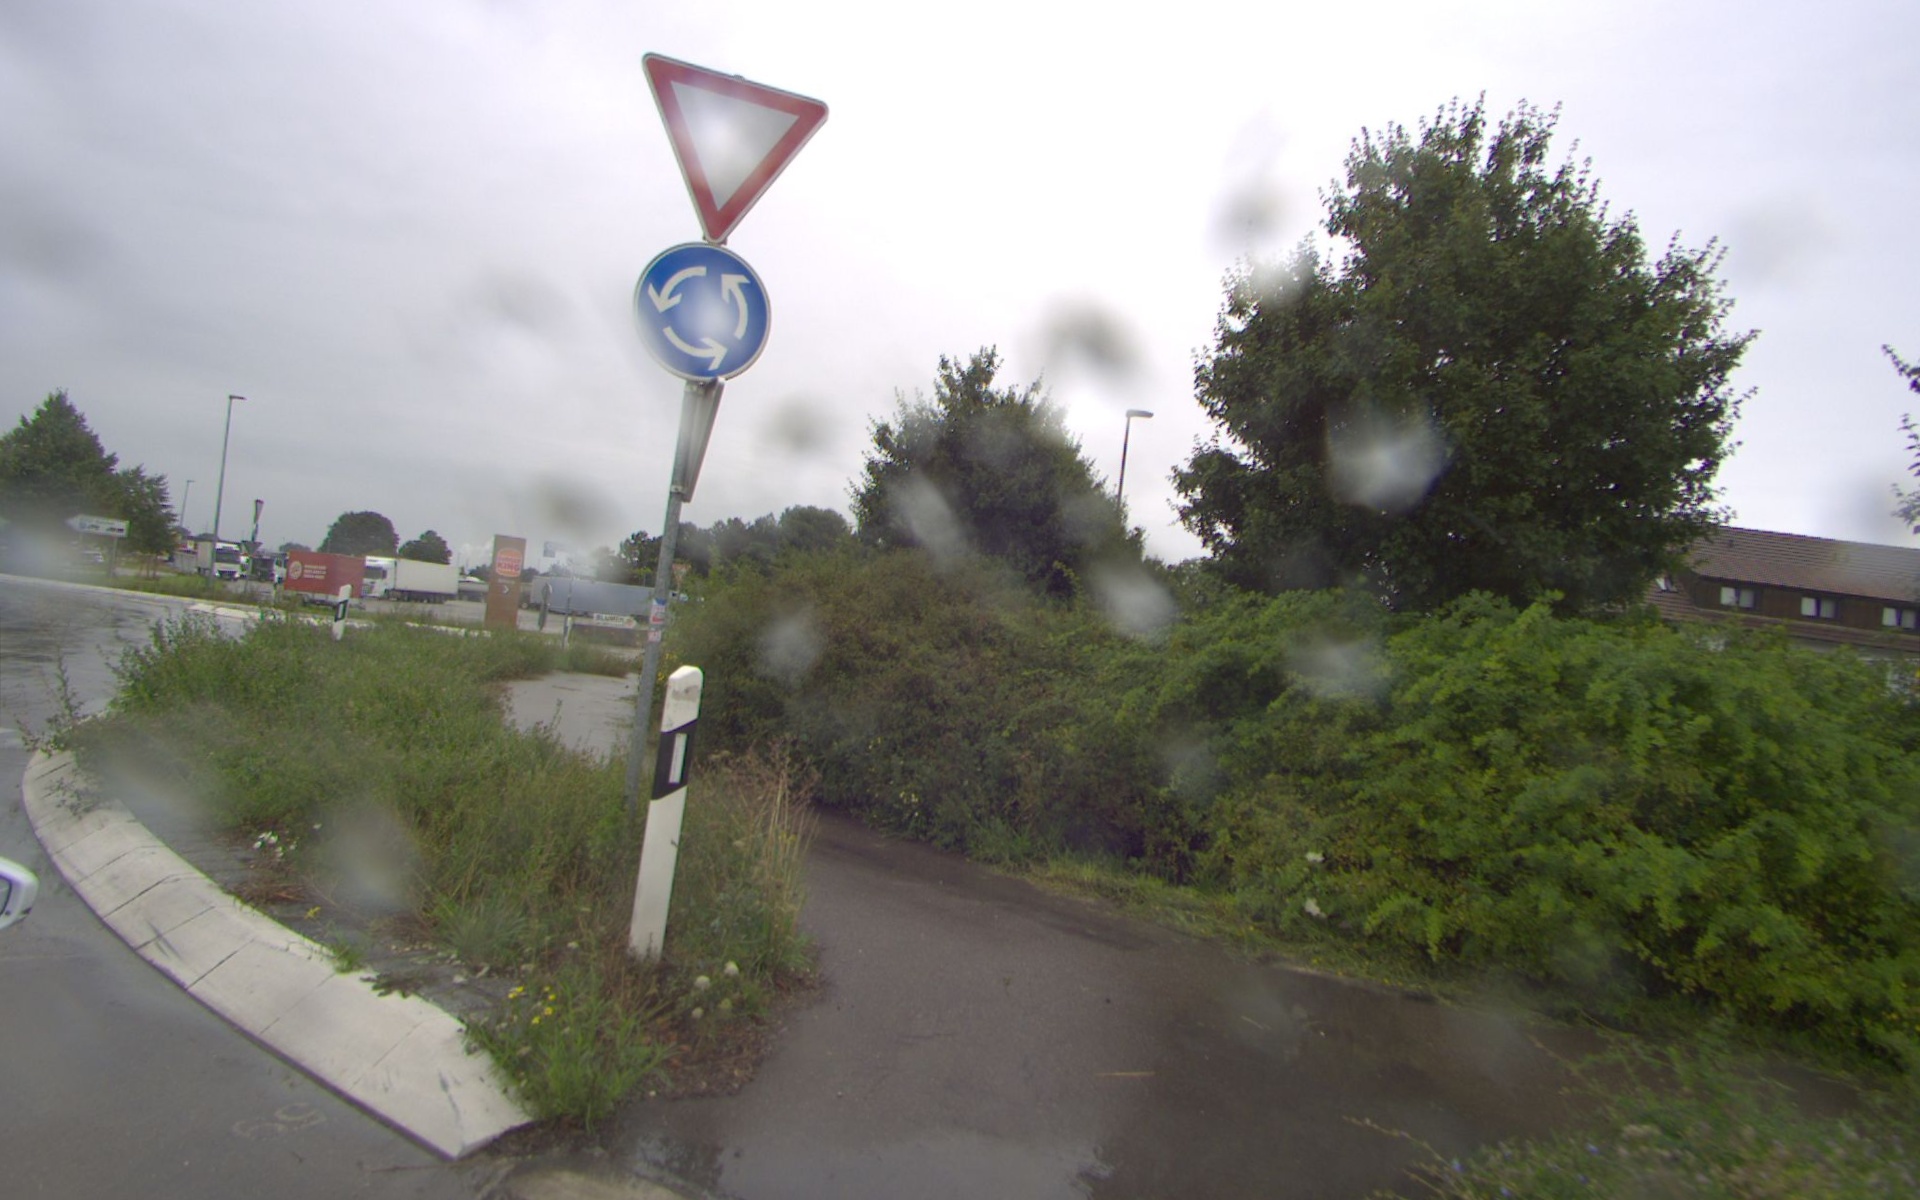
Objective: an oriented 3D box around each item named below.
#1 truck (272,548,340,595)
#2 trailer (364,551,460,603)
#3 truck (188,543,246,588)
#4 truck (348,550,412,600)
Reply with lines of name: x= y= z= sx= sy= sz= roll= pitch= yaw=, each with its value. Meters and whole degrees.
truck: x=-77.605 y=-3.234 z=119.682 sx=3.305 sy=4.790 sz=11.165 roll=6 pitch=-3 yaw=-17
trailer: x=-54.308 y=-2.100 z=100.308 sx=3.226 sy=3.992 sz=13.136 roll=6 pitch=-3 yaw=-5
truck: x=-82.177 y=-3.844 z=111.165 sx=8.691 sy=4.339 sz=2.897 roll=4 pitch=-3 yaw=41
truck: x=-53.594 y=-2.282 z=93.095 sx=3.226 sy=3.993 sz=4.461 roll=6 pitch=-2 yaw=-6
